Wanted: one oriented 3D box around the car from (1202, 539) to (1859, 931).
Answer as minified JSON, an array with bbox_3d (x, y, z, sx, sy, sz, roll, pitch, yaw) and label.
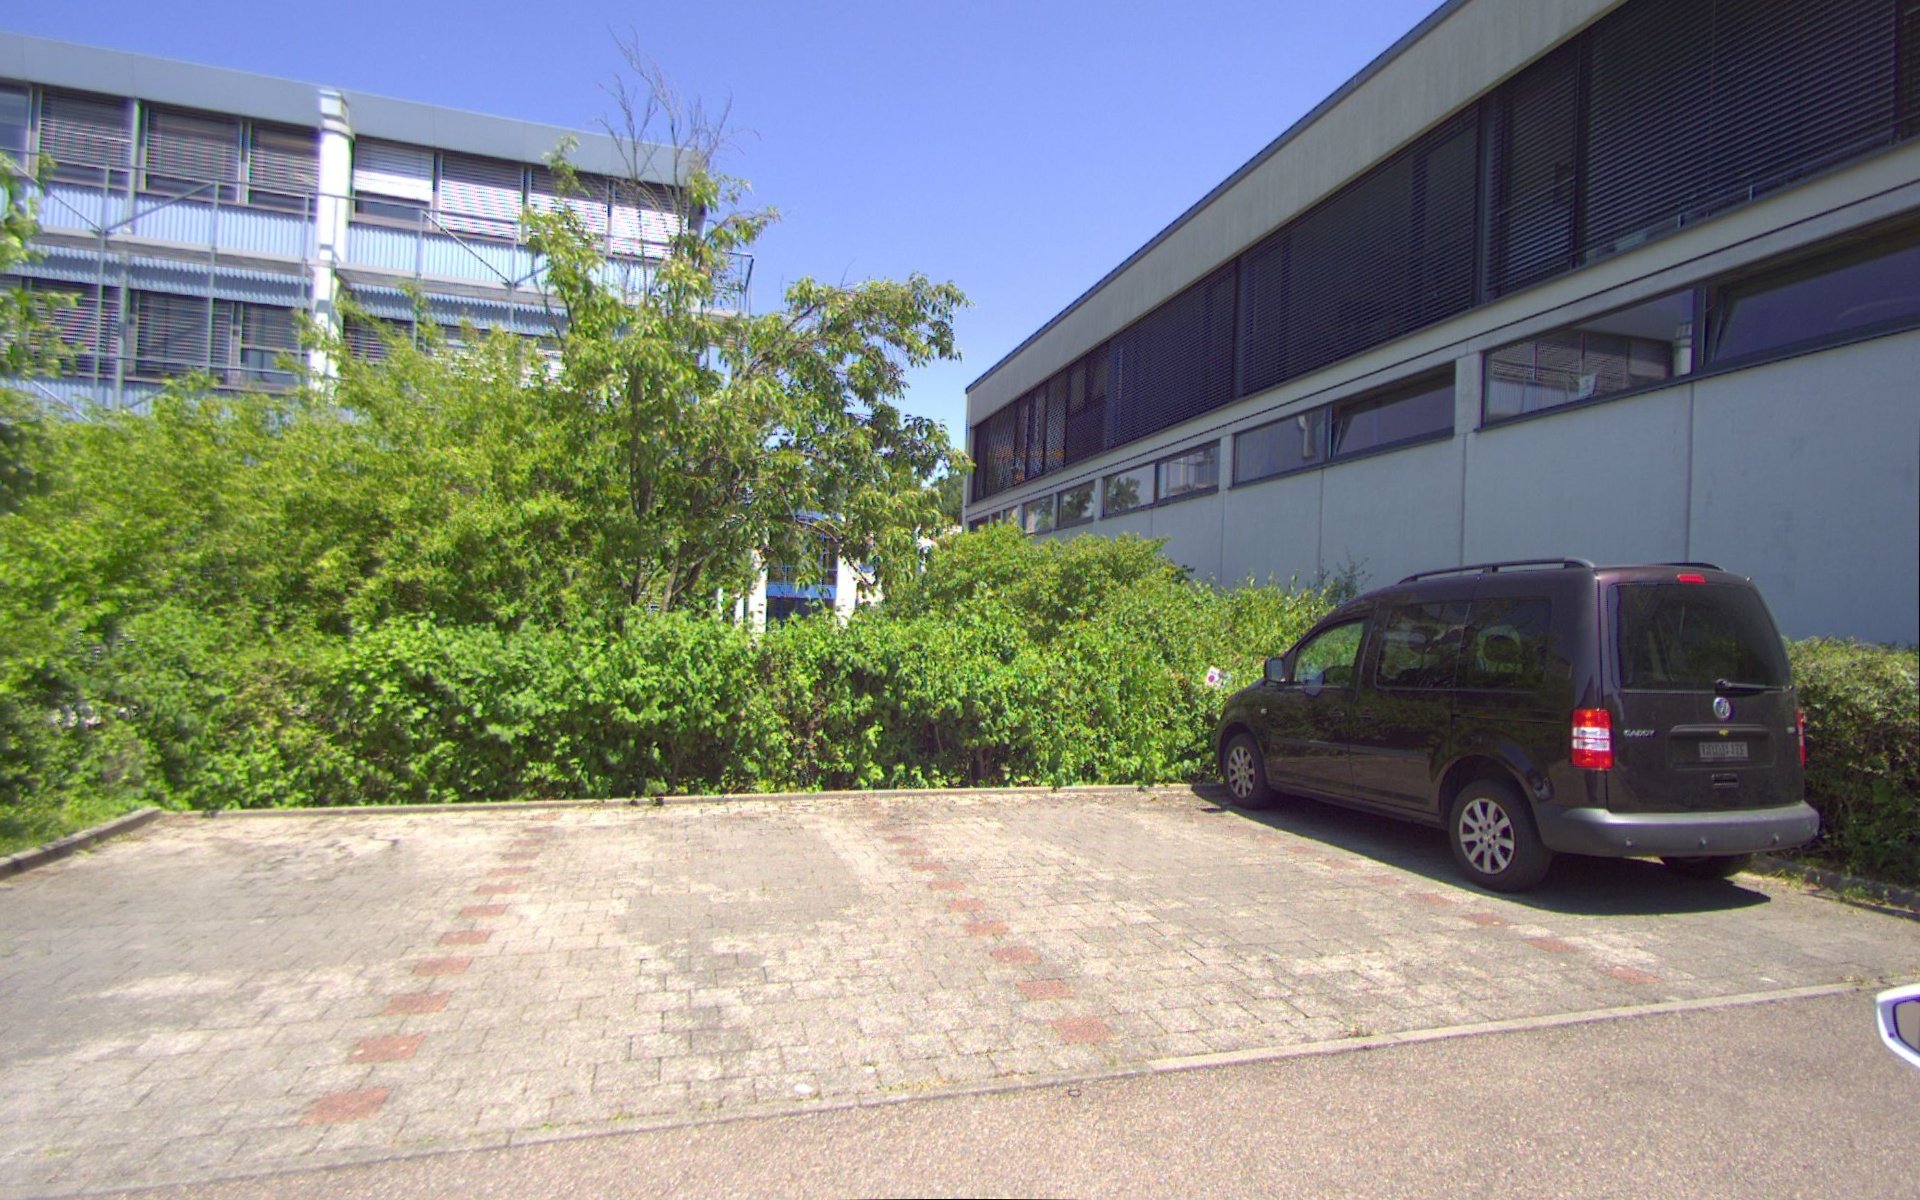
[{"bbox_3d":[3.465,0.708,7.091,1.651,1.909,4.059,2,-1,-15],"label":"car"}]
